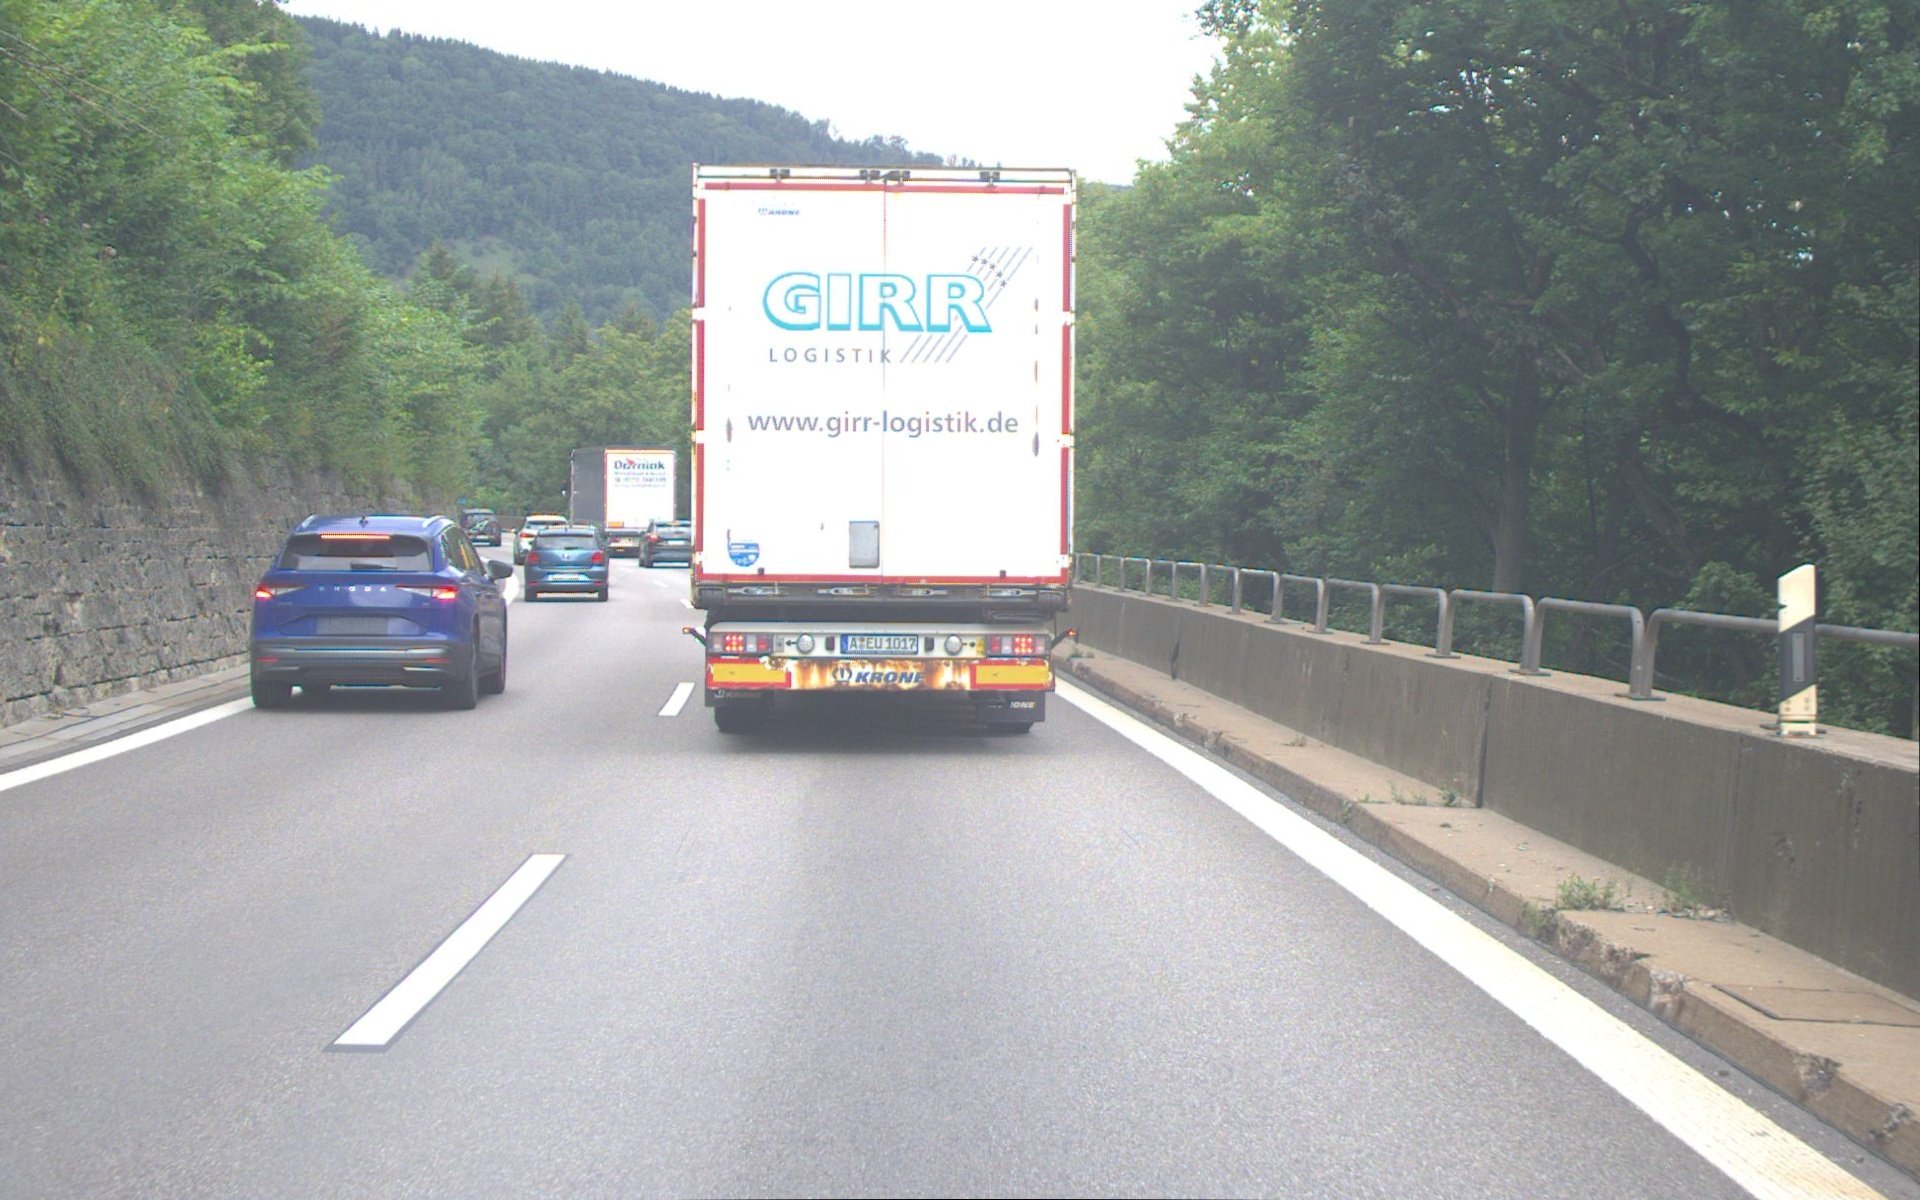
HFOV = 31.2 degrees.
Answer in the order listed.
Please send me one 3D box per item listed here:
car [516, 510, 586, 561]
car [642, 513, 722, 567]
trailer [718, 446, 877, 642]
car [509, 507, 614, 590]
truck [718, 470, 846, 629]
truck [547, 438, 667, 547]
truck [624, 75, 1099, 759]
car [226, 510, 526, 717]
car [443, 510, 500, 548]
[{"bbox_3d":[-13.103,-2.078,109.970,1.896,1.545,4.251,1,1,-11],"label":"car"},{"bbox_3d":[-8.620,-1.872,106.339,2.060,1.648,4.001,0,1,-10],"label":"car"},{"bbox_3d":[-2.938,-0.993,59.534,2.211,3.037,11.141,1,1,-5],"label":"trailer"},{"bbox_3d":[-8.002,-1.051,69.159,1.993,1.590,4.355,1,1,-6],"label":"car"},{"bbox_3d":[-3.400,-0.966,64.754,2.208,2.841,5.005,1,1,-5],"label":"truck"},{"bbox_3d":[-13.214,-3.958,127.644,2.633,3.844,12.363,0,1,-14],"label":"truck"},{"bbox_3d":[-0.834,-1.379,29.998,3.084,4.448,15.157,0,1,-1],"label":"truck"},{"bbox_3d":[-4.970,0.043,29.920,1.993,1.626,5.009,0,2,-3],"label":"car"},{"bbox_3d":[-21.134,-3.094,148.616,1.896,1.545,4.251,1,1,-15],"label":"car"}]
